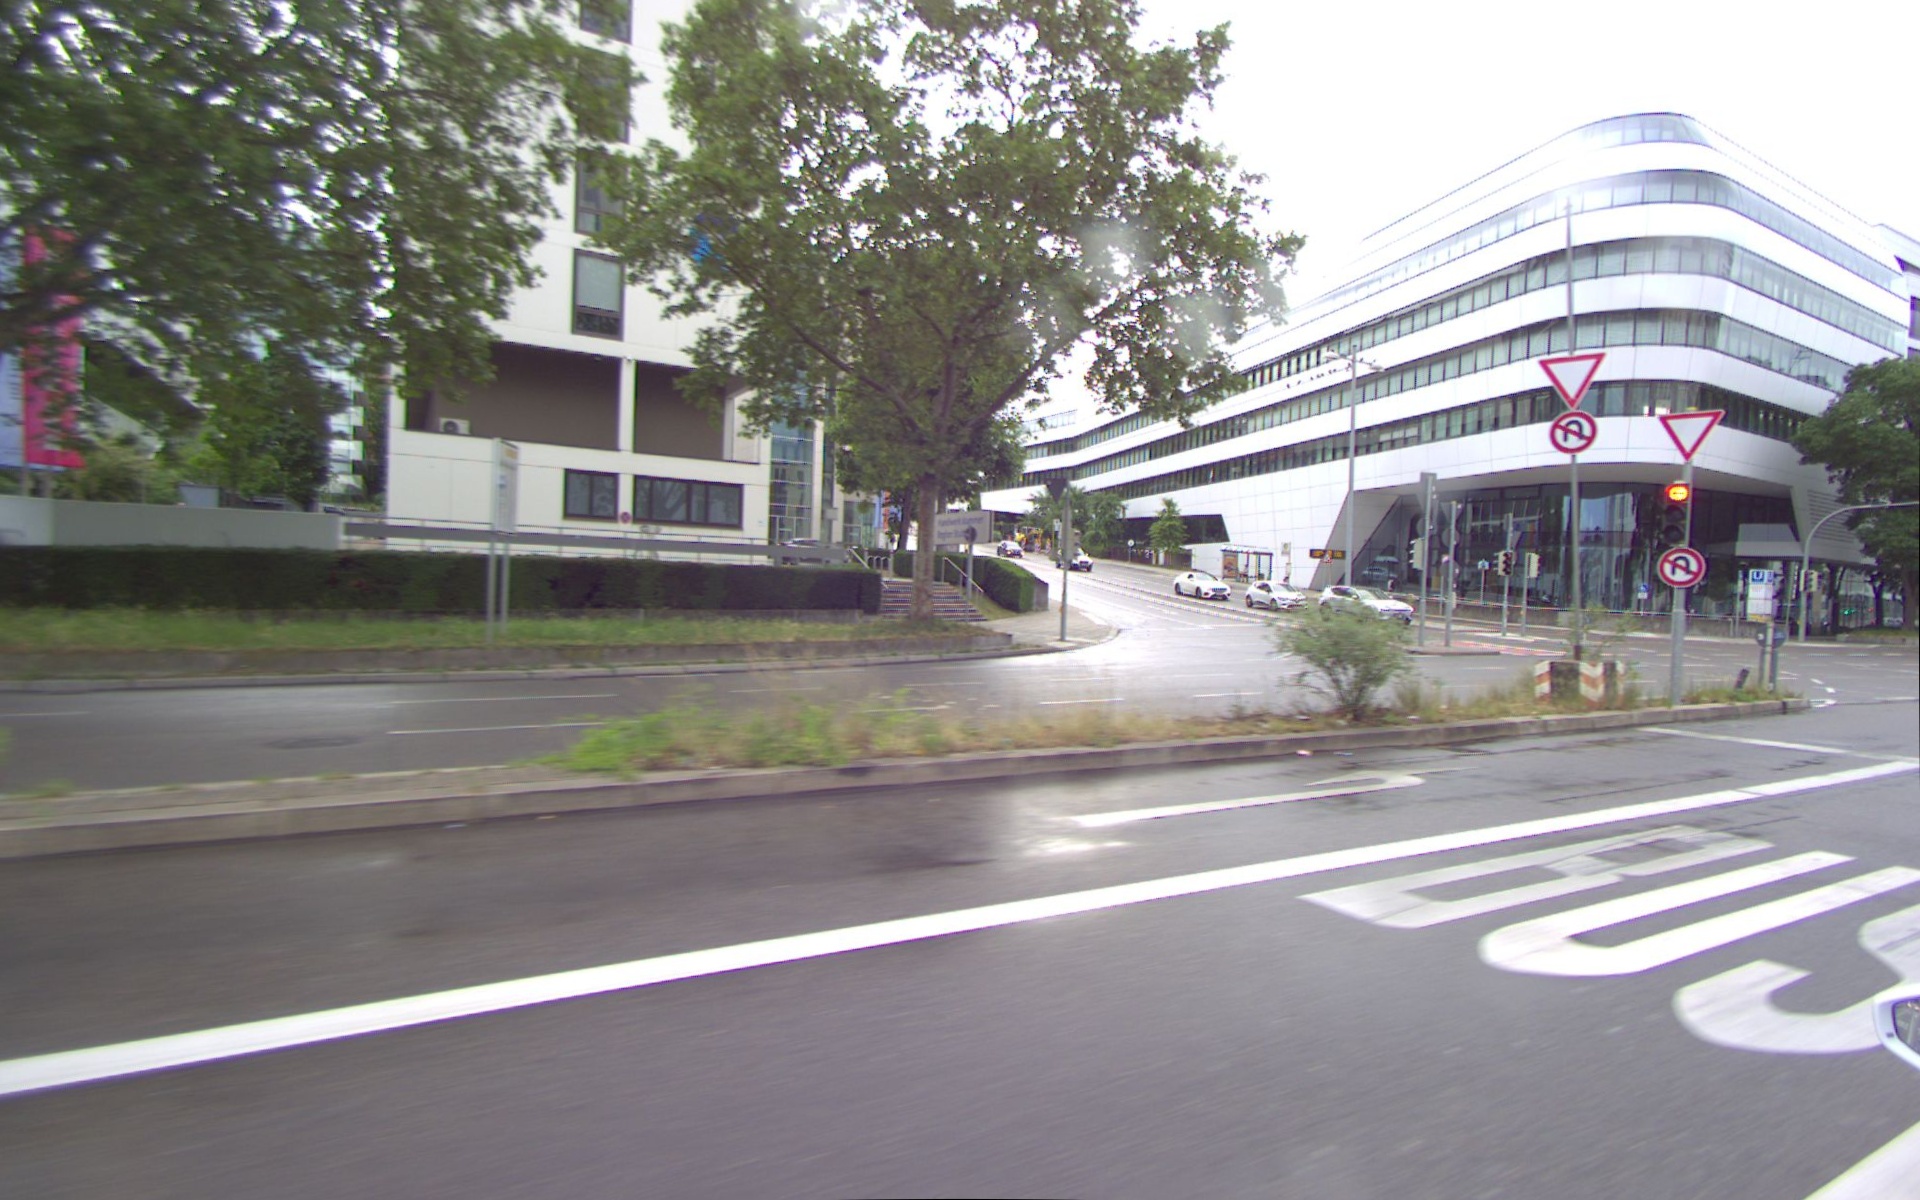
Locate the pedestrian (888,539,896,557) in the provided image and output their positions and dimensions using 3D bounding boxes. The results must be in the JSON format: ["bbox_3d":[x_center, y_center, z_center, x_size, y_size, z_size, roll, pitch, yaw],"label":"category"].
[{"bbox_3d":[-6.278,-4.840,93.052,0.586,1.632,0.686,2,0,-18],"label":"pedestrian"}]

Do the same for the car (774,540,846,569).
[{"bbox_3d":[-8.651,-2.613,58.006,3.836,1.428,1.518,2,0,-30],"label":"car"}]

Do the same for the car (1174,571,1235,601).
[{"bbox_3d":[14.319,-0.848,59.013,1.862,1.653,3.989,2,1,-13],"label":"car"}]

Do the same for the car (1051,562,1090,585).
[{"bbox_3d":[8.784,-2.124,80.186,1.862,1.653,3.989,2,2,-13],"label":"car"}]

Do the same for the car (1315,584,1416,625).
[{"bbox_3d":[17.766,0.176,44.287,1.862,1.653,4.504,2,0,-13],"label":"car"}]

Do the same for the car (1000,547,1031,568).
[{"bbox_3d":[5.315,-4.114,96.440,1.862,1.653,3.988,2,6,-13],"label":"car"}]

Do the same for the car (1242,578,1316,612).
[{"bbox_3d":[16.436,-0.254,51.915,1.862,1.653,3.989,2,0,-13],"label":"car"}]
